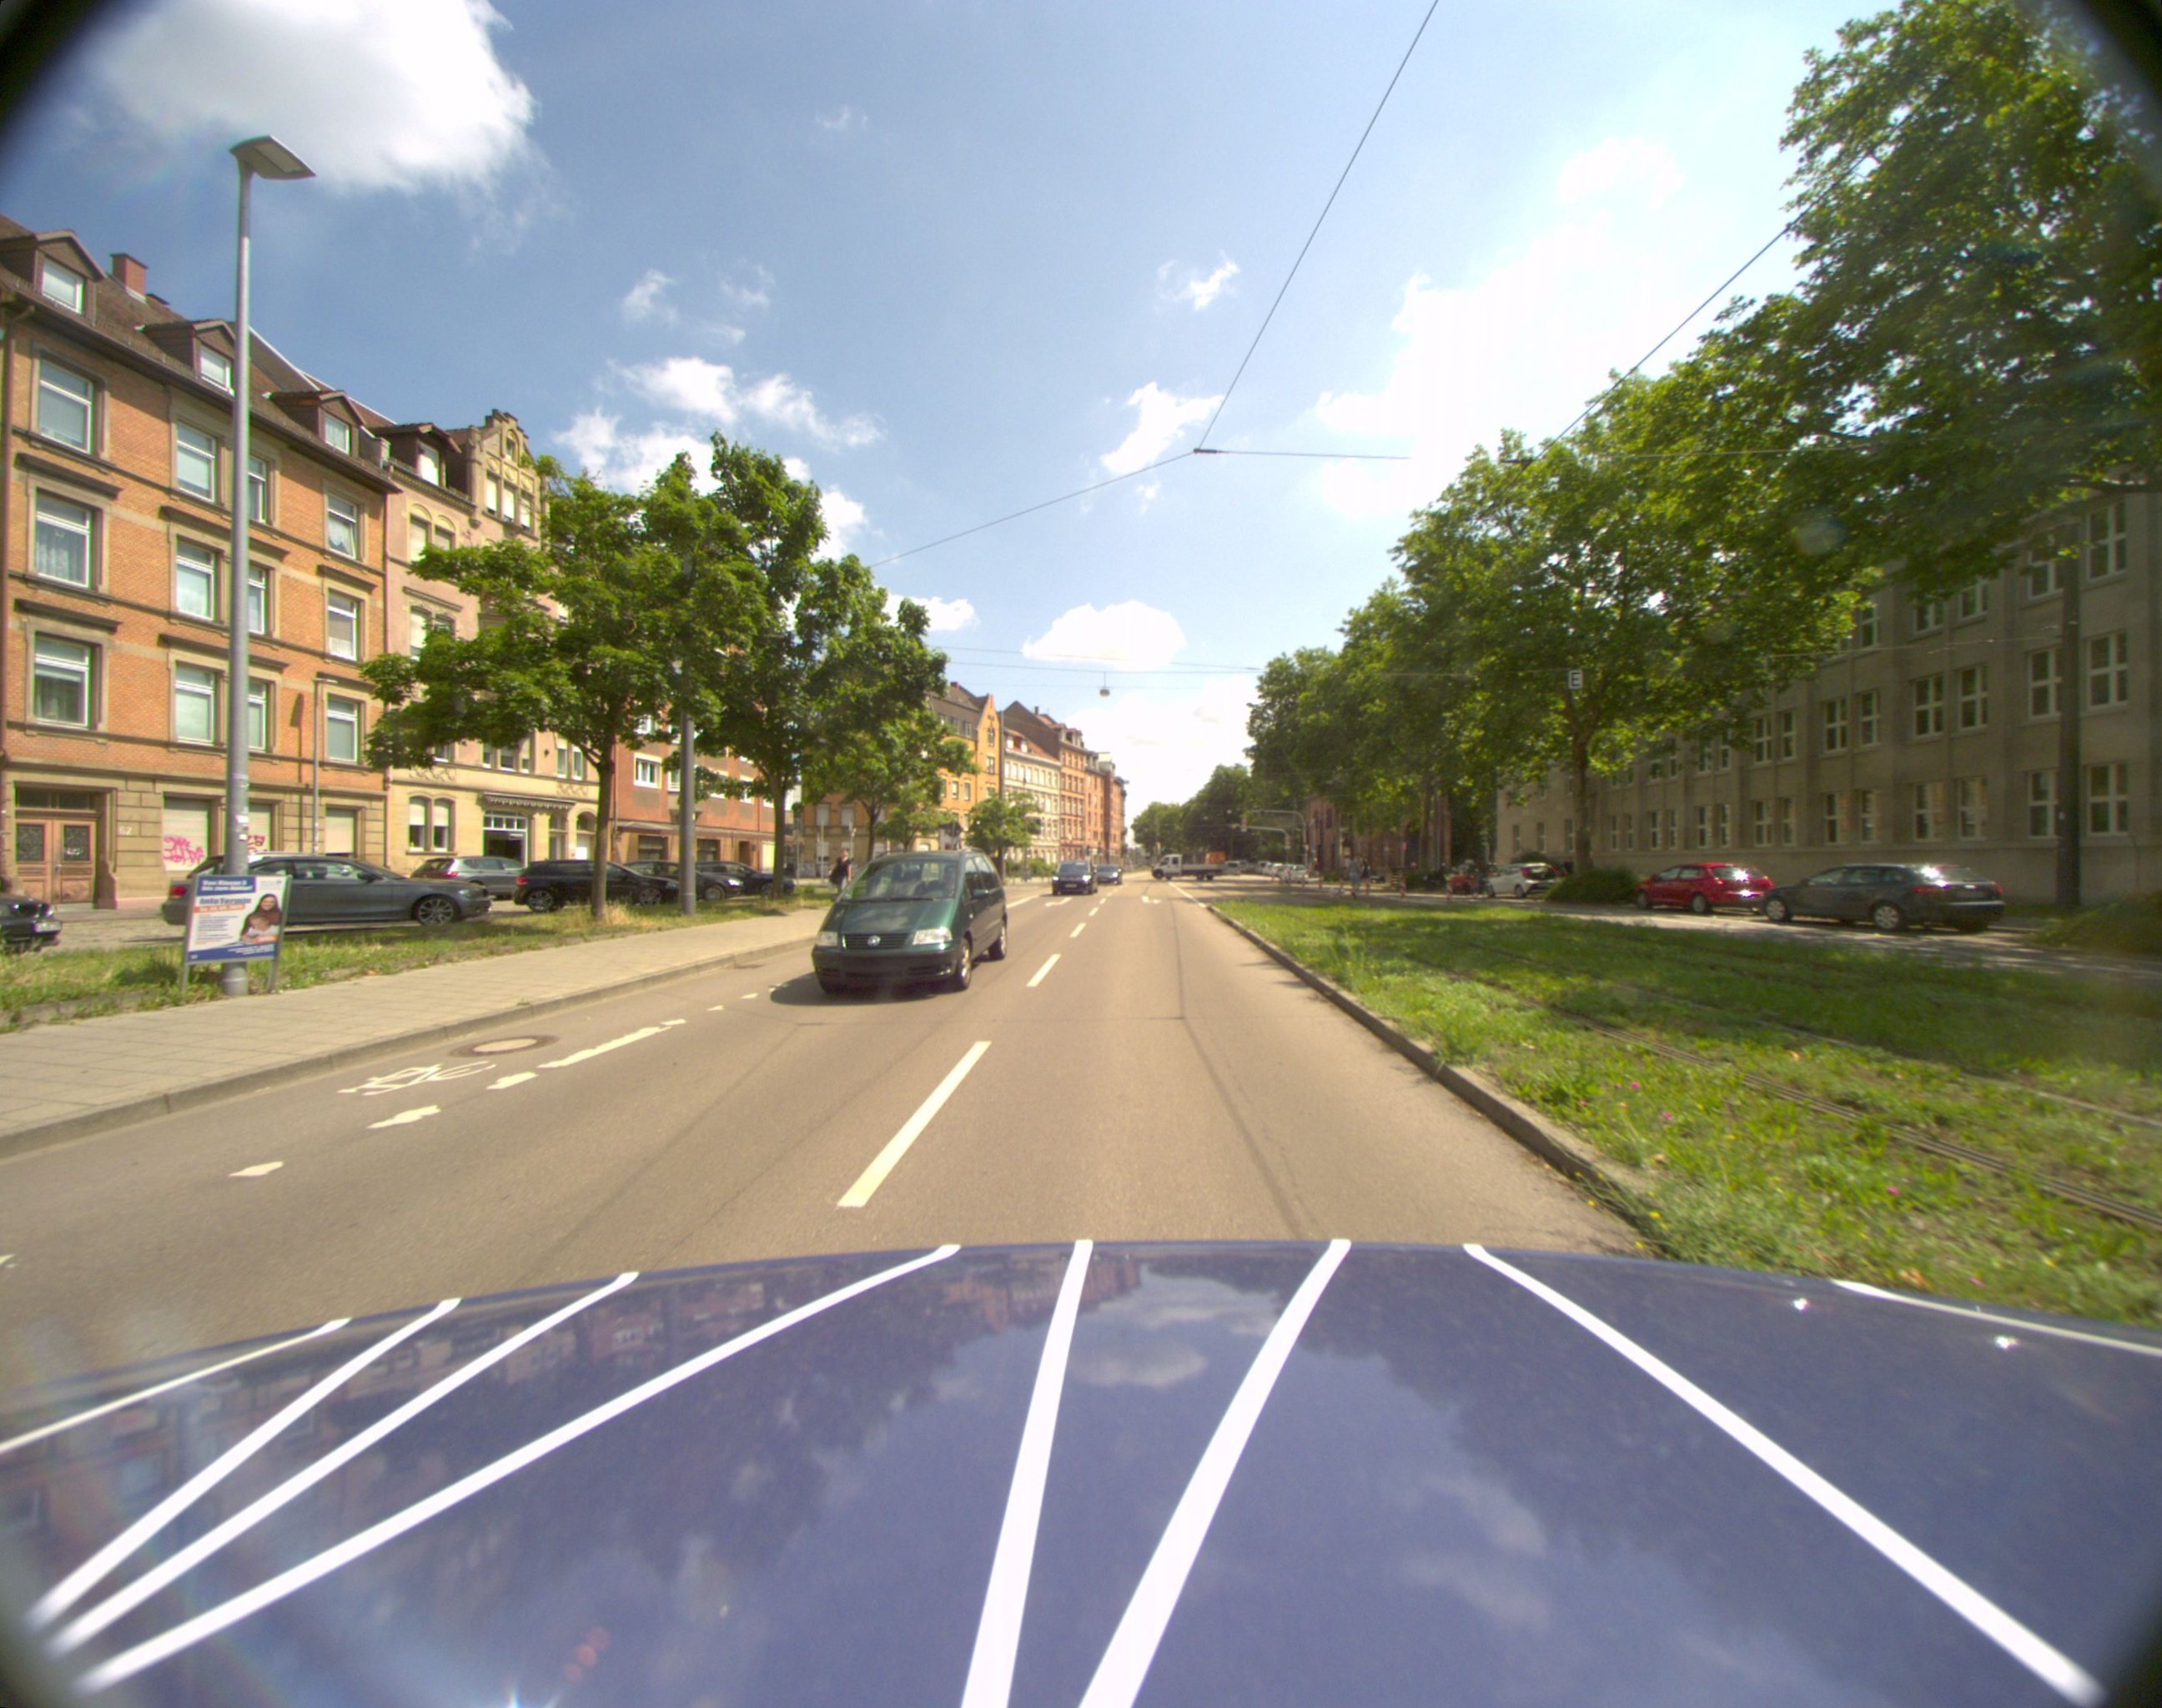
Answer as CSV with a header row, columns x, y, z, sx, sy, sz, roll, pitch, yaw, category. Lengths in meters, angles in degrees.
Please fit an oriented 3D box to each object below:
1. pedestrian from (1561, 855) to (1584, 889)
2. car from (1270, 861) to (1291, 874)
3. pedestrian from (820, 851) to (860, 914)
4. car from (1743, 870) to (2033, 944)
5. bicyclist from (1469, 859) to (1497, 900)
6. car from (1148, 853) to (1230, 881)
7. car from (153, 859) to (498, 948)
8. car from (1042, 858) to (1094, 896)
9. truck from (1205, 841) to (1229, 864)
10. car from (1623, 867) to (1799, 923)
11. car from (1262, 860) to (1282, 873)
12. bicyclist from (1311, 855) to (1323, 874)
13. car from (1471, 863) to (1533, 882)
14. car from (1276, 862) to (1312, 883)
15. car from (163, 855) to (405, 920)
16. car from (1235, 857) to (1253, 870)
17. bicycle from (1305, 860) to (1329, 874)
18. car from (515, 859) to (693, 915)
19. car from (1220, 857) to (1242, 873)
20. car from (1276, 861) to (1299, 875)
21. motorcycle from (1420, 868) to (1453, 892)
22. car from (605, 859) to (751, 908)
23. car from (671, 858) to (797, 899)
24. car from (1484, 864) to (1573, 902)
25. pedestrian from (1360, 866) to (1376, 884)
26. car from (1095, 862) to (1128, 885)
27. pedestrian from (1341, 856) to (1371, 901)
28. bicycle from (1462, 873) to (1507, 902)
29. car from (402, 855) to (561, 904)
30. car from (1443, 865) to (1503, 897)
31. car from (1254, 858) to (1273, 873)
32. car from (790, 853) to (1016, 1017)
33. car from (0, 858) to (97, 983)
x,y,z,sx,sy,sz,roll,pitch,yaw,category
23.038,0.824,35.629,0.555,1.582,0.795,-1,0,4,pedestrian
23.397,1.570,89.251,1.760,1.488,4.001,-1,0,5,car
-6.804,0.784,21.494,0.702,1.694,1.045,2,1,3,pedestrian
17.514,1.080,16.886,1.931,1.361,4.319,-2,-1,3,car
16.846,1.068,31.834,0.763,1.694,0.783,-1,0,2,bicyclist
9.434,1.092,66.644,6.960,2.360,2.268,0,0,40,car
-13.789,0.825,14.307,4.276,1.372,1.848,-1,0,-32,car
-0.533,0.992,34.940,1.874,1.610,4.191,-1,0,5,car
19.736,-0.204,110.425,2.644,3.088,7.225,2,0,5,truck
18.069,1.109,22.079,1.930,1.411,4.052,-2,-1,5,car
23.557,1.574,93.835,1.760,1.488,4.001,-1,0,5,car
22.870,1.012,73.717,0.884,1.774,0.662,-2,0,-3,bicyclist
36.219,1.563,65.495,1.764,1.599,4.401,0,0,-26,car
15.927,1.401,56.979,1.764,1.471,3.789,2,-1,4,car
-22.106,0.855,21.397,1.836,1.606,4.497,-1,0,5,car
25.706,1.509,119.822,1.993,1.992,4.086,-1,0,2,car
22.895,1.282,73.692,2.088,1.282,0.671,-2,0,-3,bicycle
-13.396,0.882,21.662,4.005,1.372,1.958,-1,0,-23,car
18.157,1.289,92.118,1.925,1.735,4.538,2,0,4,car
23.029,1.570,84.671,1.760,1.488,4.001,-1,0,5,car
19.626,1.414,41.971,2.110,1.168,0.543,-3,-2,-34,motorcycle
-12.959,0.904,24.615,4.006,1.372,1.957,-1,0,-28,car
-12.672,0.857,28.045,4.003,1.346,1.958,-1,0,-18,car
18.730,1.172,31.960,1.750,1.445,3.492,-2,-1,3,car
20.363,1.493,53.968,0.757,1.205,0.913,-5,0,6,pedestrian
2.123,1.315,52.155,1.913,1.386,4.315,-1,0,7,car
10.650,0.952,29.442,0.784,1.694,0.701,-1,0,-27,pedestrian
16.868,1.381,31.832,0.792,1.103,2.277,-1,0,3,bicycle
-21.529,0.843,27.563,1.835,1.606,4.498,-1,0,7,car
19.004,1.287,36.919,1.490,1.445,2.884,-2,-1,3,car
24.039,1.510,100.145,1.760,1.825,4.001,-1,0,5,car
-2.162,0.889,10.806,1.823,1.746,5.032,-1,0,2,car
-14.173,0.770,7.989,4.276,1.372,1.848,-1,0,-32,car
